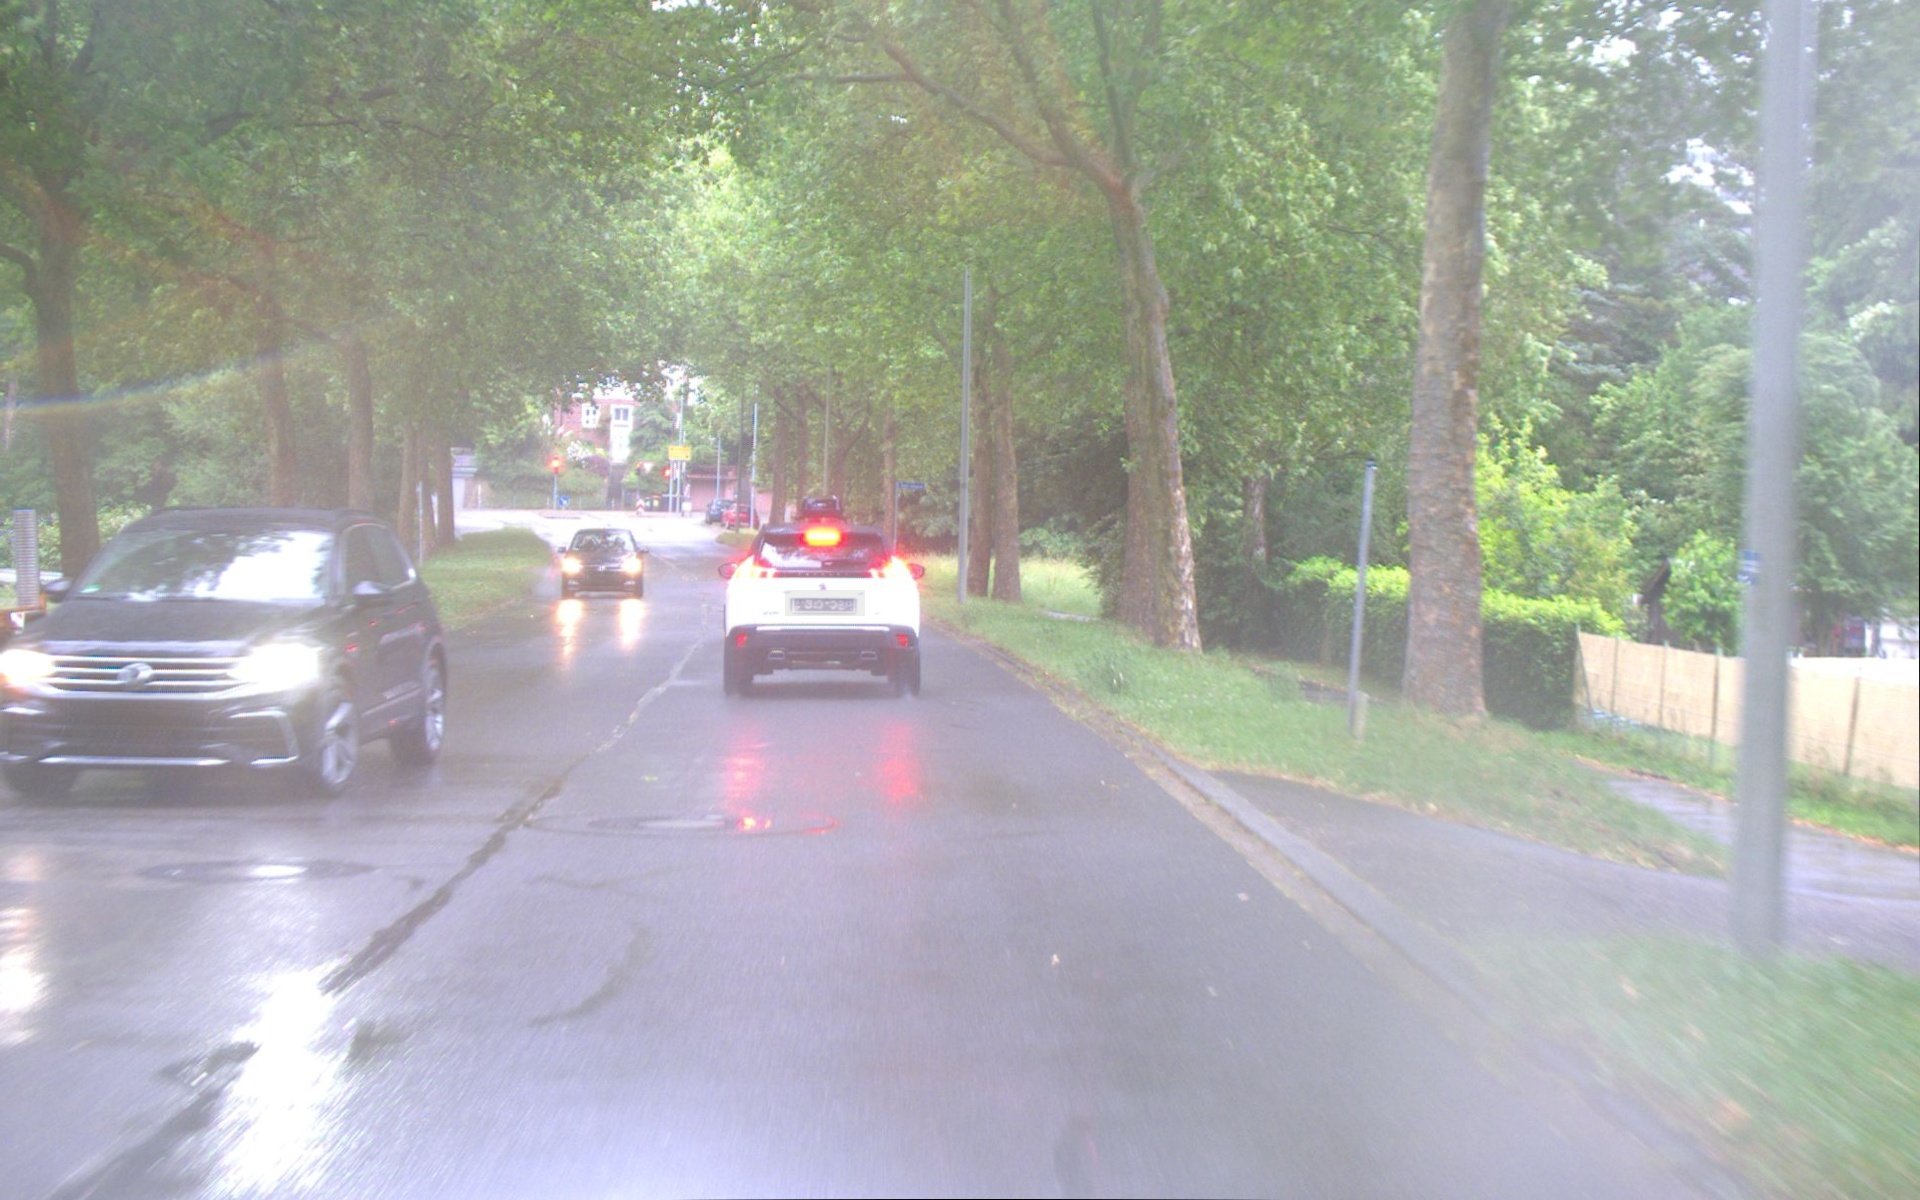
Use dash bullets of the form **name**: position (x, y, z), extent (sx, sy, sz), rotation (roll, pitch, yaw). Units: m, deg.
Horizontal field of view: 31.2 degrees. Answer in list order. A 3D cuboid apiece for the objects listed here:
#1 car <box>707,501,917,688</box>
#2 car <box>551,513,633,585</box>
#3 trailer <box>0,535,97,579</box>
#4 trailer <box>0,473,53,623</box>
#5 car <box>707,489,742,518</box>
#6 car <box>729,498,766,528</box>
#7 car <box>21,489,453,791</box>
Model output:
- **car**: position (-1.326, -0.104, 31.951), extent (1.794, 1.573, 3.845), rotation (1, 2, -1)
- **car**: position (-7.974, -1.124, 74.475), extent (1.706, 1.481, 3.882), rotation (1, 1, -6)
- **trailer**: position (-26.034, -1.208, 96.172), extent (3.552, 1.174, 1.823), rotation (0, 2, -10)
- **trailer**: position (-17.732, -0.961, 60.301), extent (2.484, 2.558, 5.333), rotation (1, 1, -3)
- **car**: position (-13.500, -5.519, 197.258), extent (1.827, 1.590, 3.654), rotation (1, 1, -1)
- **car**: position (-11.601, -4.739, 187.595), extent (1.827, 1.590, 3.654), rotation (1, 1, -1)
- **car**: position (-4.208, 0.158, 20.640), extent (1.731, 1.582, 4.311), rotation (1, 1, -1)
